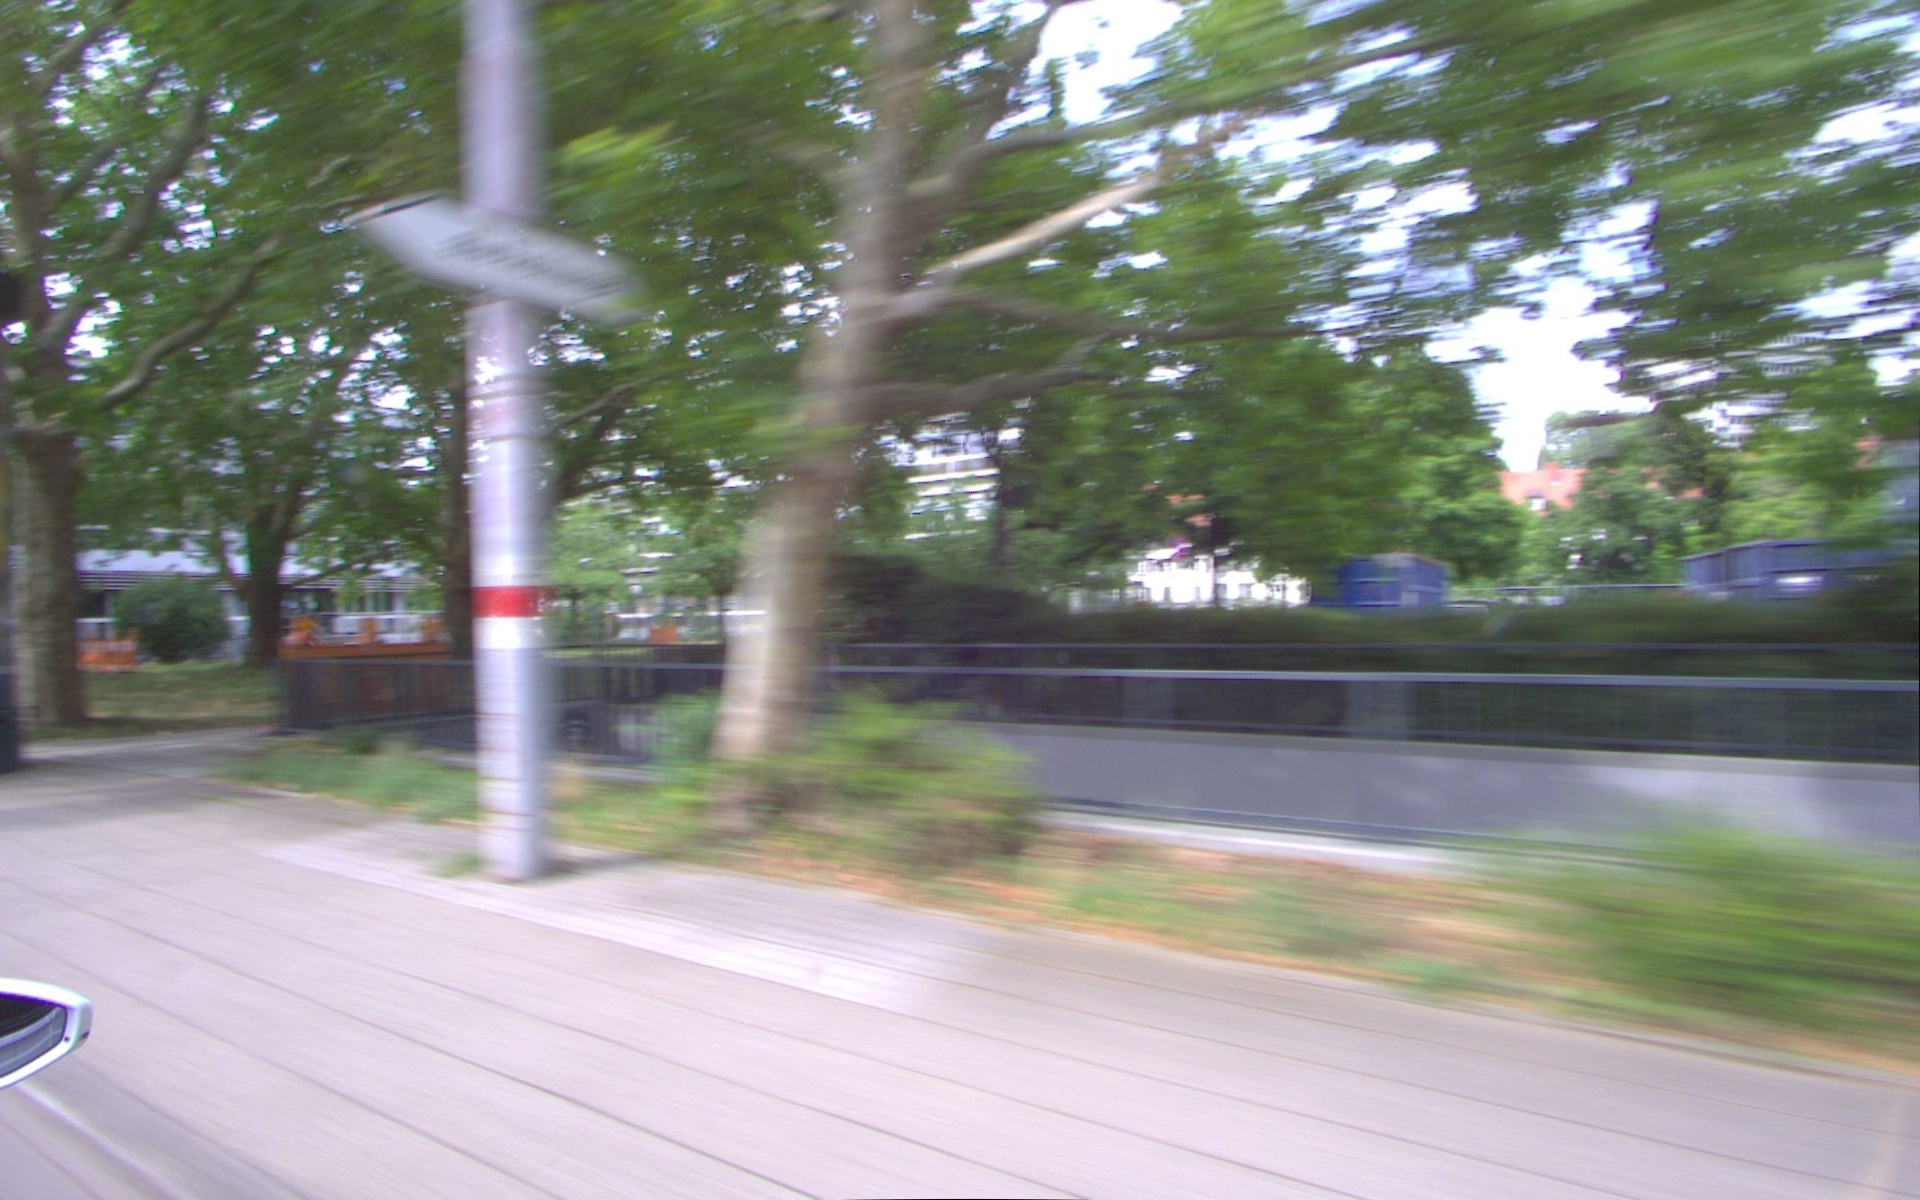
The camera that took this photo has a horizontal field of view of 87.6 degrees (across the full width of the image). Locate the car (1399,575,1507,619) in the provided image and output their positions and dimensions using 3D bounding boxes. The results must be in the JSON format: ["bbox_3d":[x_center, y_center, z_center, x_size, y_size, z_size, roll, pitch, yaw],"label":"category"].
[{"bbox_3d":[24.288,-0.089,49.383,4.701,2.039,1.992,-1,-2,29],"label":"car"}]

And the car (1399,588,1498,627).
[{"bbox_3d":[20.954,0.354,42.935,3.732,1.600,1.992,-1,-2,29],"label":"car"}]
